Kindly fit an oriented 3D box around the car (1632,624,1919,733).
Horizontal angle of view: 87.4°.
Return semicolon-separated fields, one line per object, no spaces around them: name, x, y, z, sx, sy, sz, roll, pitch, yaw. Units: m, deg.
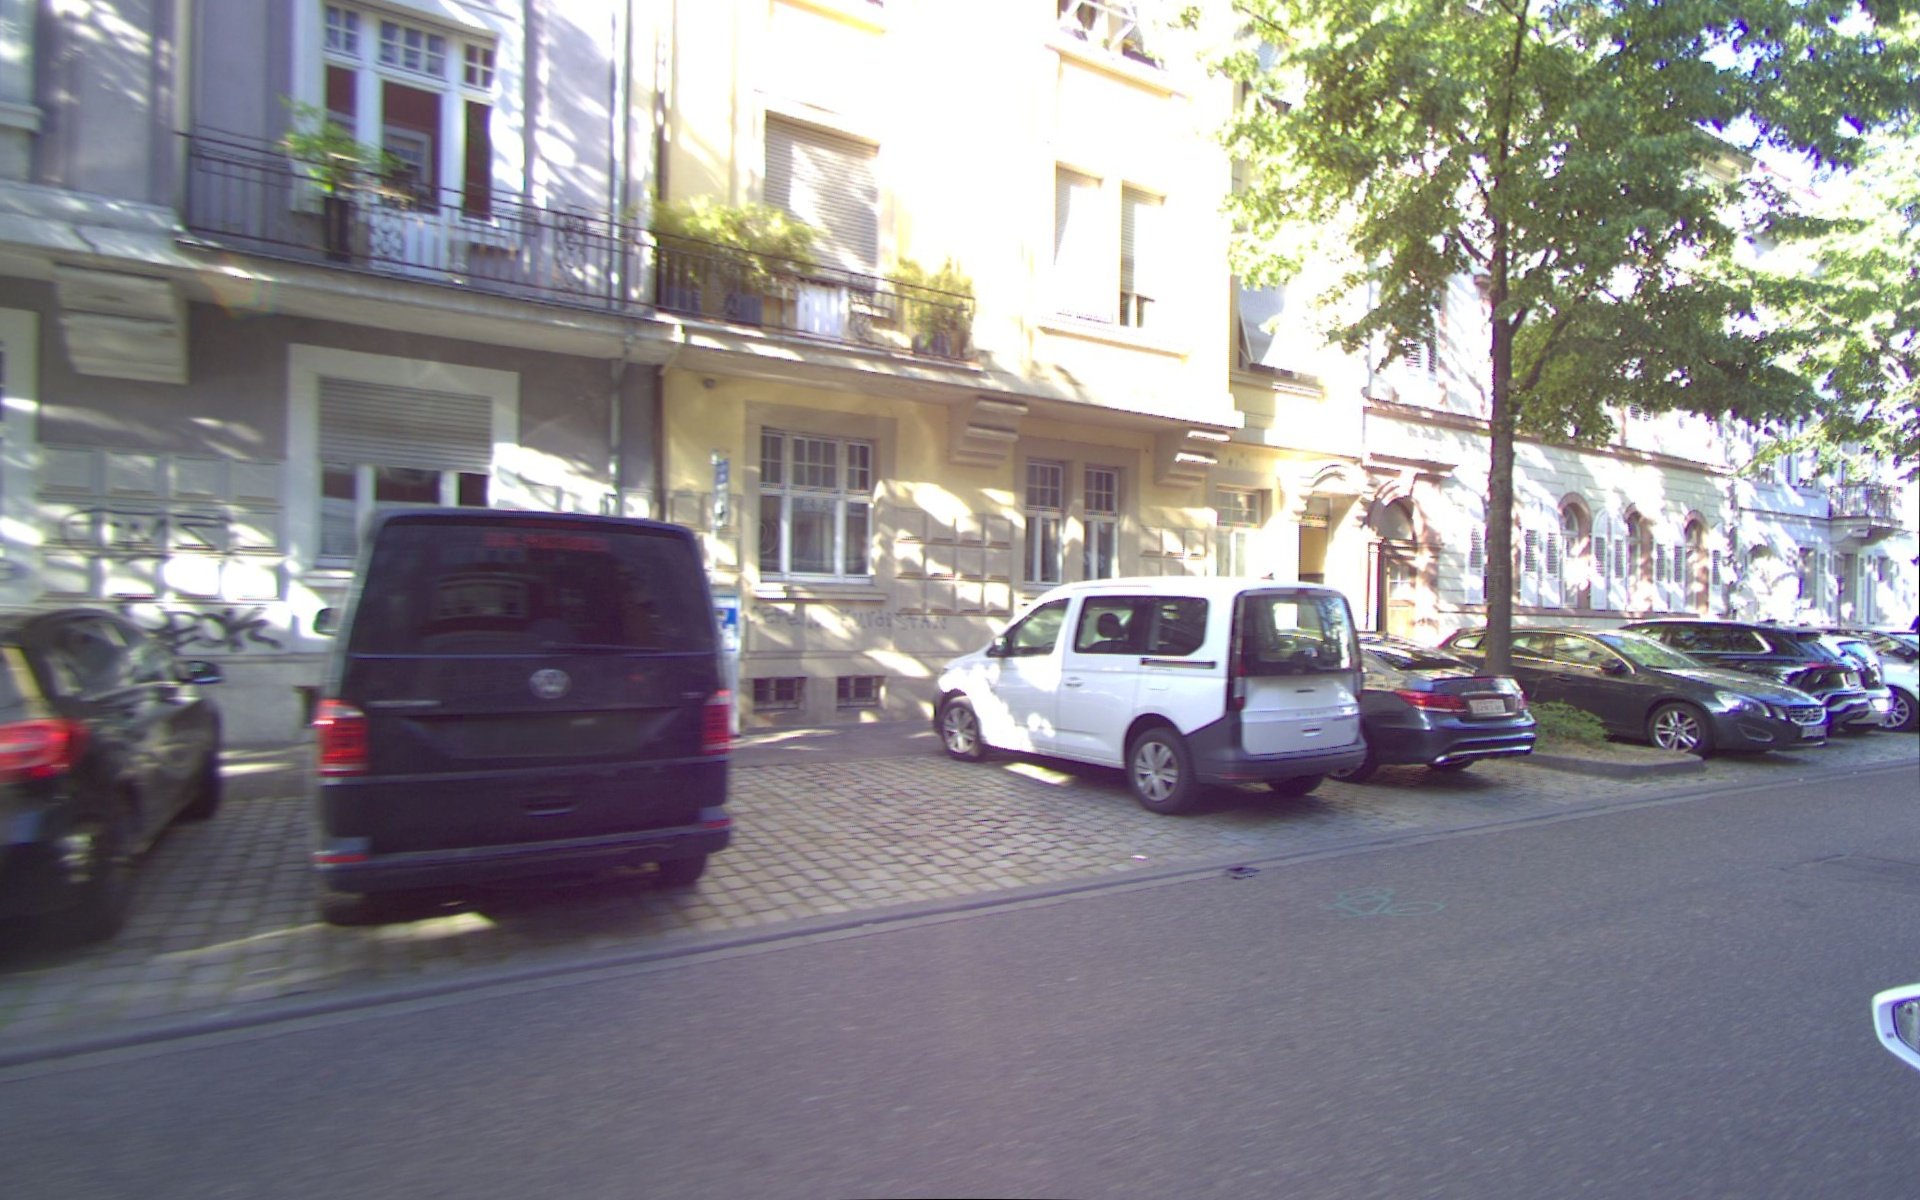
car;14.202;1.232;16.926;1.894;1.561;4.445;1;-1;-30

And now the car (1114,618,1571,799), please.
car;3.764;0.955;10.681;1.895;1.458;4.317;1;-1;-31

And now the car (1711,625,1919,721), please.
car;16.603;1.278;18.192;1.891;1.561;4.452;1;-1;-26

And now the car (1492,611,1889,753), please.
car;10.398;1.042;14.679;1.894;1.732;4.320;1;-1;-29

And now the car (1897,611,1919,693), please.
car;24.814;1.251;22.942;1.893;1.976;4.662;1;-1;-28

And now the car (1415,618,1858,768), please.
car;8.476;1.042;13.084;1.892;1.561;4.449;1;-1;-27

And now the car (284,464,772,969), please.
car;-2.772;0.489;6.363;1.905;1.952;4.557;1;-1;-27

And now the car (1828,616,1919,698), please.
car;22.089;1.268;21.886;1.893;1.795;4.448;1;-1;-28

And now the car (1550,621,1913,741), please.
car;12.178;1.182;16.189;1.787;1.603;4.320;1;-1;-29

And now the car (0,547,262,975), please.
car;-5.168;0.612;5.398;1.894;1.616;4.319;1;-1;-29

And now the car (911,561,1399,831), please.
car;1.503;0.692;9.246;1.897;1.858;4.311;1;-1;-35
